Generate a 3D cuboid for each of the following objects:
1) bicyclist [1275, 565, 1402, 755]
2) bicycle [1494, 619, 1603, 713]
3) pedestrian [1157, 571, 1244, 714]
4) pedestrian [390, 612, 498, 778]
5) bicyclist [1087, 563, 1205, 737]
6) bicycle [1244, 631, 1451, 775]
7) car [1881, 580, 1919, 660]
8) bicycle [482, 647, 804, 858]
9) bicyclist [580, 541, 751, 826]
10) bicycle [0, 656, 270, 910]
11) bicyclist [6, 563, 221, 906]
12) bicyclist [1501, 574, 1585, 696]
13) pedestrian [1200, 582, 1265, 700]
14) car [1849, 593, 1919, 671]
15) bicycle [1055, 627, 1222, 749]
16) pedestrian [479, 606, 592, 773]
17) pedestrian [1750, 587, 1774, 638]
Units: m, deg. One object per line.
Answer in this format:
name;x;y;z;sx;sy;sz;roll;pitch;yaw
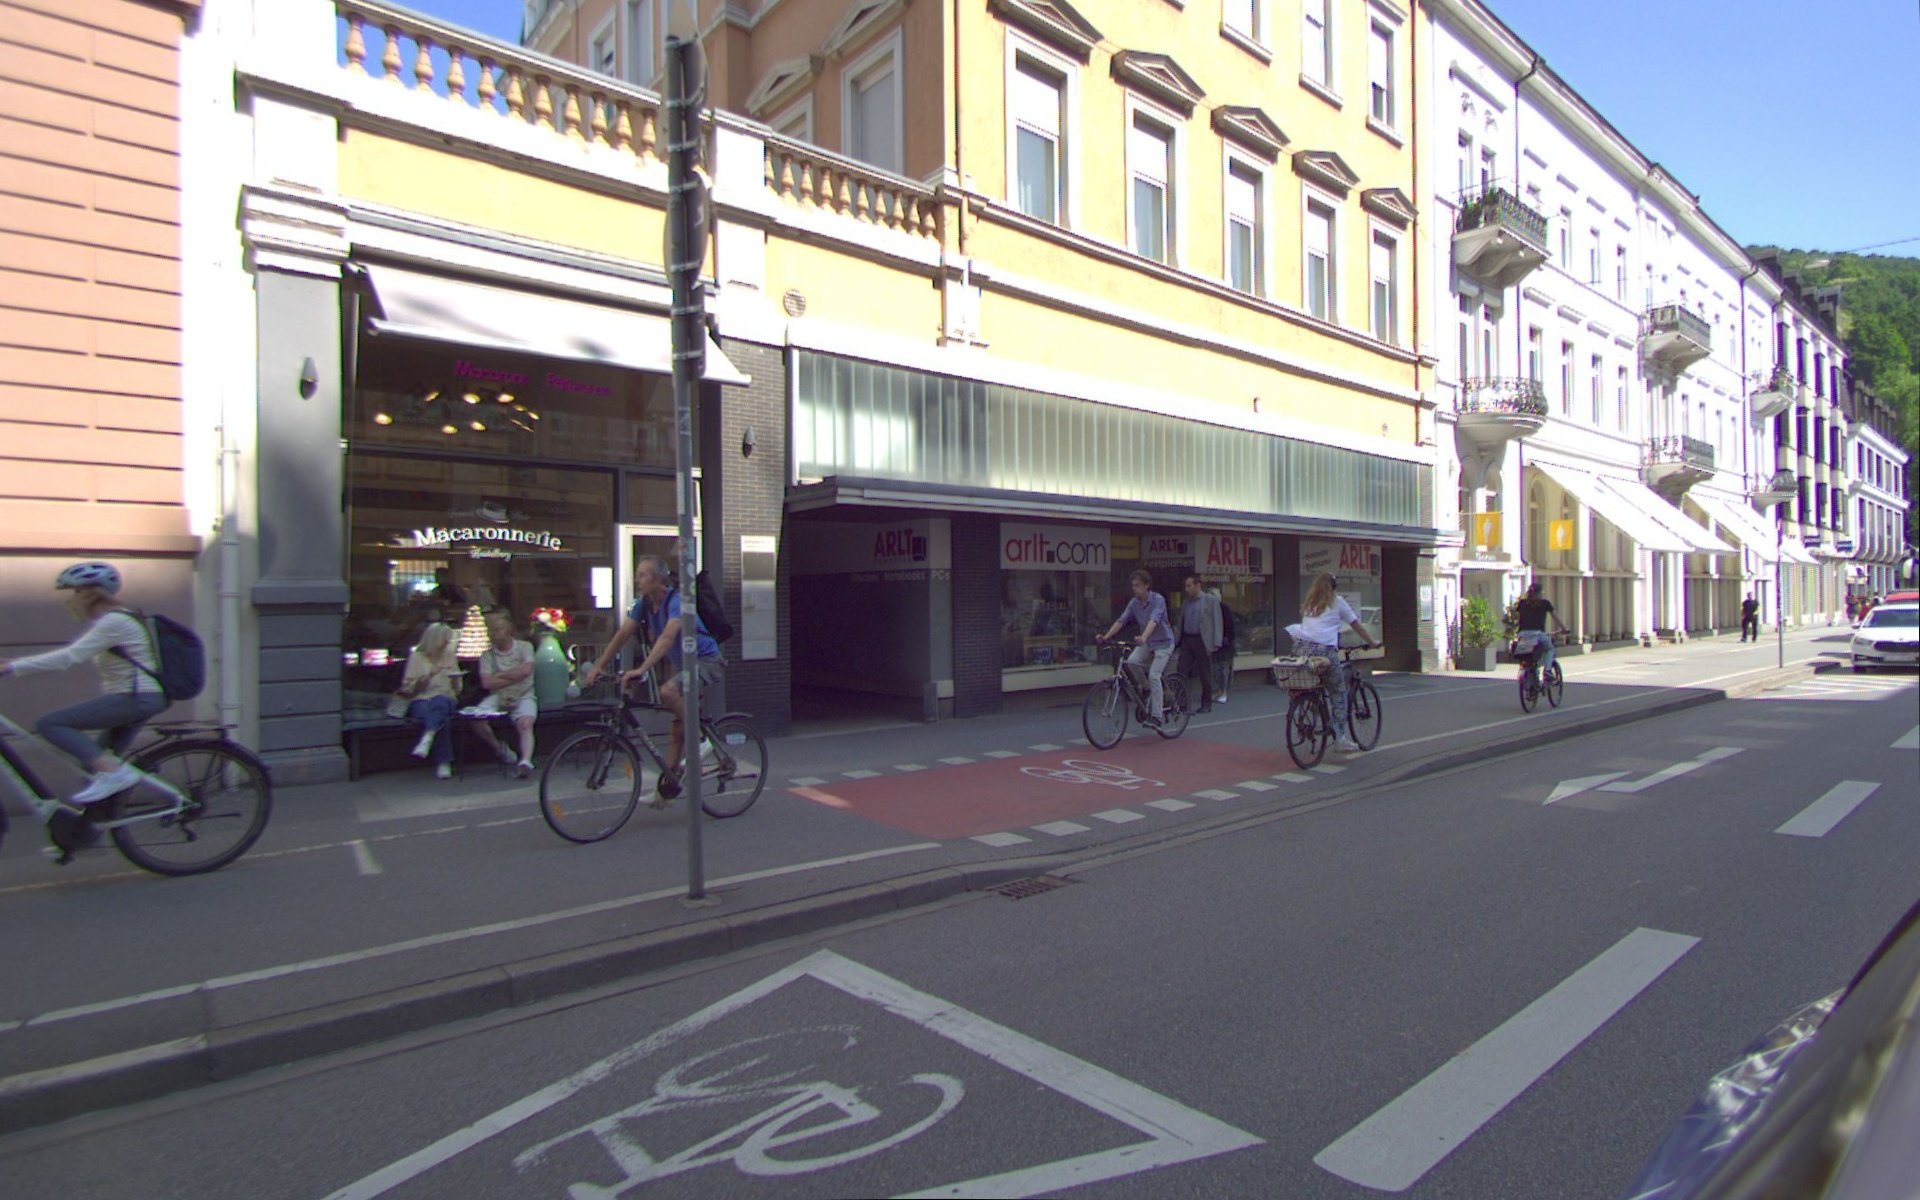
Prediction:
bicyclist;3.680;0.539;9.827;1.017;1.724;0.747;-1;0;-40
bicycle;8.077;0.858;13.849;2.056;1.141;0.596;-1;1;-39
pedestrian;3.174;0.531;13.383;0.754;1.814;0.840;0;0;-40
pedestrian;-4.516;0.782;8.836;0.614;1.333;1.031;0;0;-41
bicyclist;1.976;0.494;10.765;0.830;1.739;0.909;-1;0;-43
bicycle;3.867;0.934;9.969;2.527;1.141;0.743;-1;2;-39
car;25.214;0.489;26.065;4.529;1.938;1.699;1;-6;-43
bicycle;-2.059;0.923;6.752;1.956;1.132;0.663;0;0;-39
bicyclist;-1.973;0.501;6.771;0.829;1.739;0.840;0;0;-40
bicycle;-4.677;0.913;5.207;1.826;1.141;0.607;0;1;-39
bicyclist;-4.444;0.643;5.350;0.829;1.656;0.516;-1;0;-40
bicyclist;7.915;0.450;13.743;0.829;1.593;0.747;-1;0;-40
pedestrian;4.011;0.579;14.896;0.829;1.686;0.522;-1;0;-40
car;21.083;0.637;22.257;4.192;1.544;1.795;-1;-3;-43
bicycle;1.920;0.875;10.709;1.885;1.132;0.747;0;-1;-42
pedestrian;-3.796;0.750;9.019;0.614;1.332;1.088;0;2;-41
pedestrian;27.231;0.416;34.359;0.853;1.689;0.482;0;-1;-41
